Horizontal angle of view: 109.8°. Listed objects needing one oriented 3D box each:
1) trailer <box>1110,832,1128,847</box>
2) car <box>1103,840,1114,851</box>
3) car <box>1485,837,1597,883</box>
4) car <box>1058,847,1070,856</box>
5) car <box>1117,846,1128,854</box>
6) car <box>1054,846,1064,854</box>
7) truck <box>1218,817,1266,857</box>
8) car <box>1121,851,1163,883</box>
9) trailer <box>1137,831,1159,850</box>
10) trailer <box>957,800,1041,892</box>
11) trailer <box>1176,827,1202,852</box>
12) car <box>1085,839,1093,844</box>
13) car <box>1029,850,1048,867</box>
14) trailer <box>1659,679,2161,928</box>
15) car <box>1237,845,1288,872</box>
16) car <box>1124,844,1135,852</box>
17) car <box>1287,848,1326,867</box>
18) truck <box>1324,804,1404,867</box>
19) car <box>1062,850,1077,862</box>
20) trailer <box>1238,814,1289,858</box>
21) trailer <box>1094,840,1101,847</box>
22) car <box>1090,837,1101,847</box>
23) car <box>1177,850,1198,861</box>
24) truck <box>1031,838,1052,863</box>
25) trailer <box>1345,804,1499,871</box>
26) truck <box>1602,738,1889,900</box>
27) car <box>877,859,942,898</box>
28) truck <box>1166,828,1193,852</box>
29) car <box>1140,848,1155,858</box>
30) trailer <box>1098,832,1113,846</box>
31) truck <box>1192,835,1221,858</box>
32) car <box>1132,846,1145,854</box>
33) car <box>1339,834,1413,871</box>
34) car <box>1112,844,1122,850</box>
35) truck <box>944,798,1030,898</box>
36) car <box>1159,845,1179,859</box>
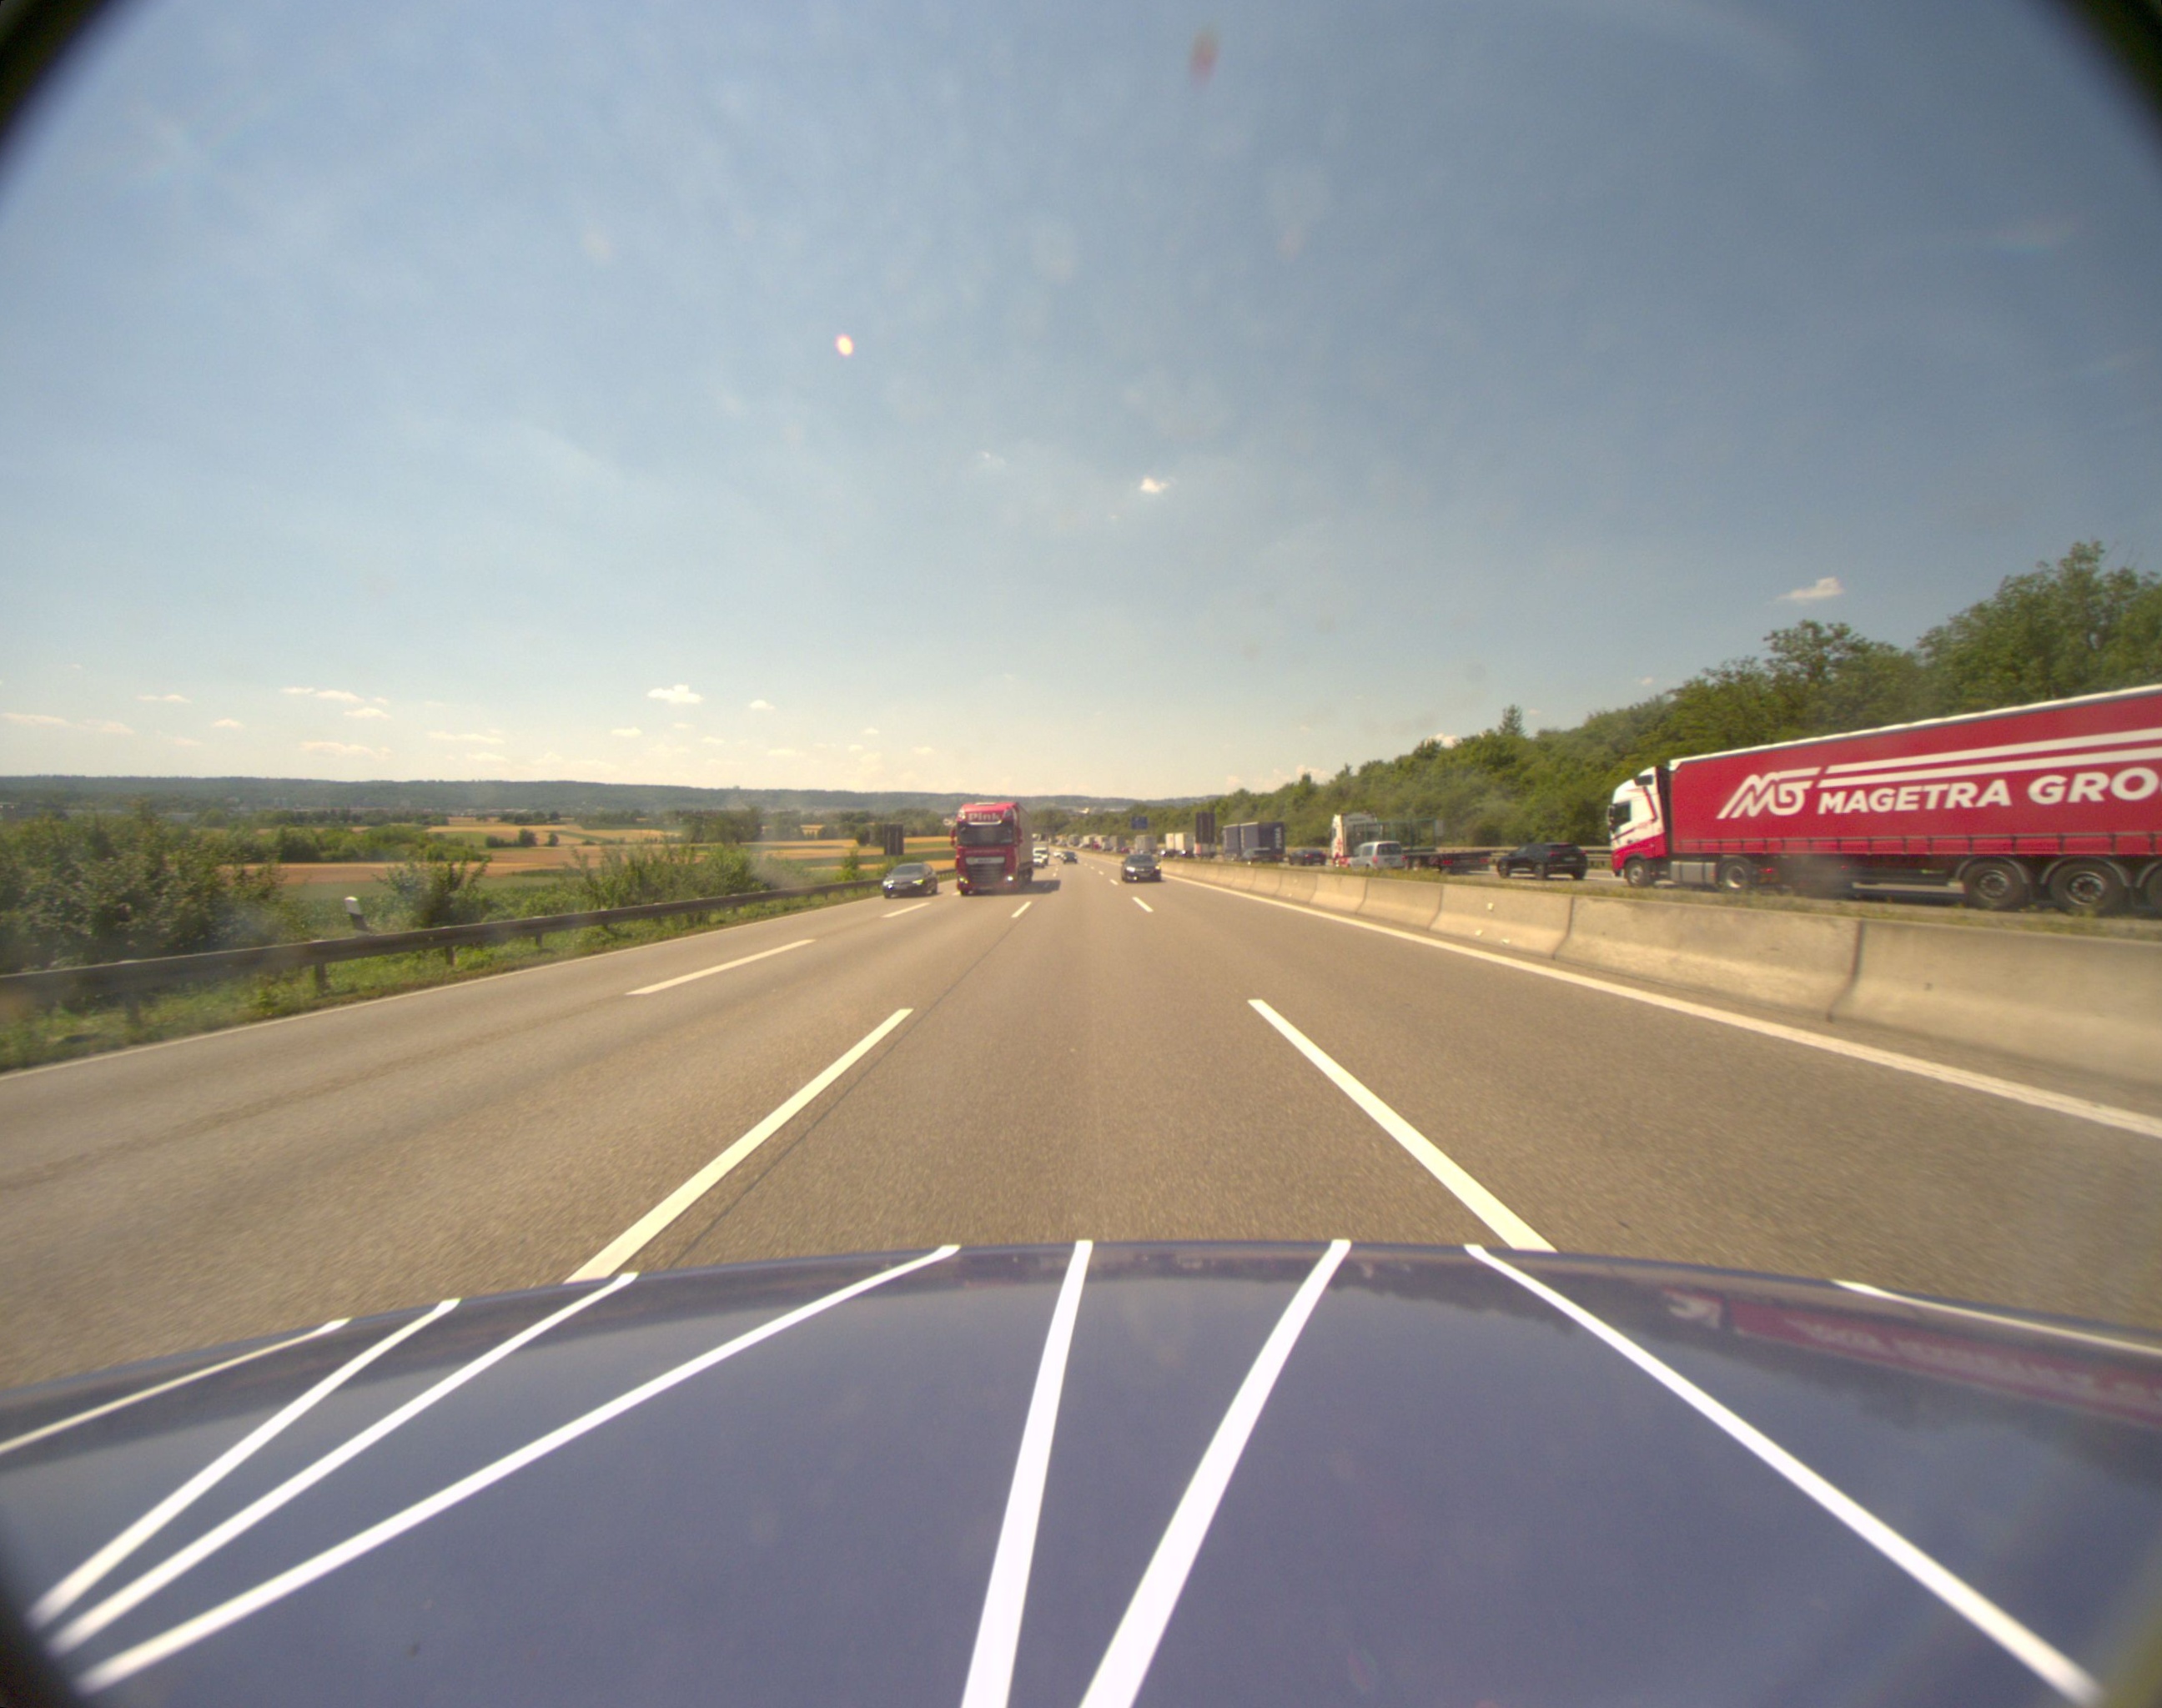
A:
[{"bbox_3d":[10.764,-4.174,216.588,2.990,4.183,14.182,-3,2,-5],"label":"trailer"},{"bbox_3d":[7.665,-2.368,211.133,2.145,2.771,6.619,-3,3,-4],"label":"car"},{"bbox_3d":[19.284,0.189,32.114,1.842,1.622,4.602,-2,3,-1],"label":"car"},{"bbox_3d":[-2.988,-0.449,133.670,1.866,1.322,3.997,-2,2,-4],"label":"car"},{"bbox_3d":[8.543,-0.899,156.703,1.999,1.518,4.771,-3,1,-2],"label":"car"},{"bbox_3d":[-4.565,-0.799,159.282,1.999,1.467,3.997,-3,3,-2],"label":"car"},{"bbox_3d":[18.405,-1.901,87.710,3.009,4.210,10.730,-2,1,-1],"label":"truck"},{"bbox_3d":[3.117,0.637,39.864,1.807,1.534,4.749,-2,0,0],"label":"car"},{"bbox_3d":[14.816,-3.009,168.845,2.910,4.063,14.437,-2,1,-3],"label":"trailer"},{"bbox_3d":[-4.085,-0.525,41.645,2.926,4.094,13.854,-3,1,0],"label":"trailer"},{"bbox_3d":[17.653,-2.371,125.068,2.928,4.048,8.227,-1,1,-1],"label":"trailer"},{"bbox_3d":[2.778,-4.186,259.082,1.999,1.706,4.788,-2,2,-5],"label":"car"},{"bbox_3d":[-4.740,0.451,83.697,1.837,1.636,4.169,-3,2,-6],"label":"car"},{"bbox_3d":[19.323,-0.920,16.261,3.093,4.077,14.380,-2,0,1],"label":"trailer"},{"bbox_3d":[12.334,0.261,51.994,2.054,1.686,5.254,-2,1,-1],"label":"car"},{"bbox_3d":[11.119,-1.445,175.830,1.867,1.632,5.109,-2,3,-3],"label":"car"},{"bbox_3d":[18.453,0.228,62.349,1.661,1.423,4.647,-2,1,-2],"label":"car"},{"bbox_3d":[18.897,-1.212,51.200,2.908,3.854,6.176,-2,1,-1],"label":"truck"},{"bbox_3d":[-1.533,0.241,103.146,1.866,1.426,3.997,-2,2,-2],"label":"car"},{"bbox_3d":[18.573,-1.758,78.034,2.994,4.169,8.593,-2,1,-1],"label":"trailer"},{"bbox_3d":[5.147,-3.308,234.173,1.574,2.240,3.958,-2,1,-7],"label":"trailer"},{"bbox_3d":[4.540,-3.884,239.192,2.244,2.997,6.546,-2,1,-7],"label":"car"},{"bbox_3d":[14.588,0.190,104.321,1.999,1.447,5.168,-2,1,-2],"label":"car"},{"bbox_3d":[-5.163,-0.547,99.372,2.445,3.011,6.912,-3,2,-3],"label":"truck"},{"bbox_3d":[18.960,-0.857,43.655,2.865,3.187,12.780,-2,1,-1],"label":"trailer"},{"bbox_3d":[19.405,-0.928,22.855,3.043,4.058,6.314,-2,1,0],"label":"truck"},{"bbox_3d":[-7.538,1.054,33.747,2.037,1.543,3.999,-2,0,-2],"label":"car"},{"bbox_3d":[17.361,-2.447,134.641,2.850,3.876,11.242,-1,1,-2],"label":"truck"},{"bbox_3d":[10.380,-0.112,119.081,1.842,1.278,4.871,-2,3,-1],"label":"car"},{"bbox_3d":[7.918,-4.927,247.548,2.819,4.254,13.857,-3,2,-5],"label":"trailer"},{"bbox_3d":[17.962,-1.112,109.374,2.545,3.189,7.586,-2,1,-2],"label":"truck"},{"bbox_3d":[11.545,-0.867,152.518,1.999,1.536,5.491,-2,1,-3],"label":"car"},{"bbox_3d":[15.505,-0.094,40.245,1.918,1.762,4.761,-2,1,-1],"label":"car"},{"bbox_3d":[9.000,-1.748,190.557,1.757,1.452,4.854,-3,3,-4],"label":"car"},{"bbox_3d":[-4.069,-0.315,34.561,2.924,3.986,6.509,-3,1,0],"label":"truck"},{"bbox_3d":[11.222,-0.259,96.709,1.842,1.574,4.553,-2,0,-1],"label":"car"}]
